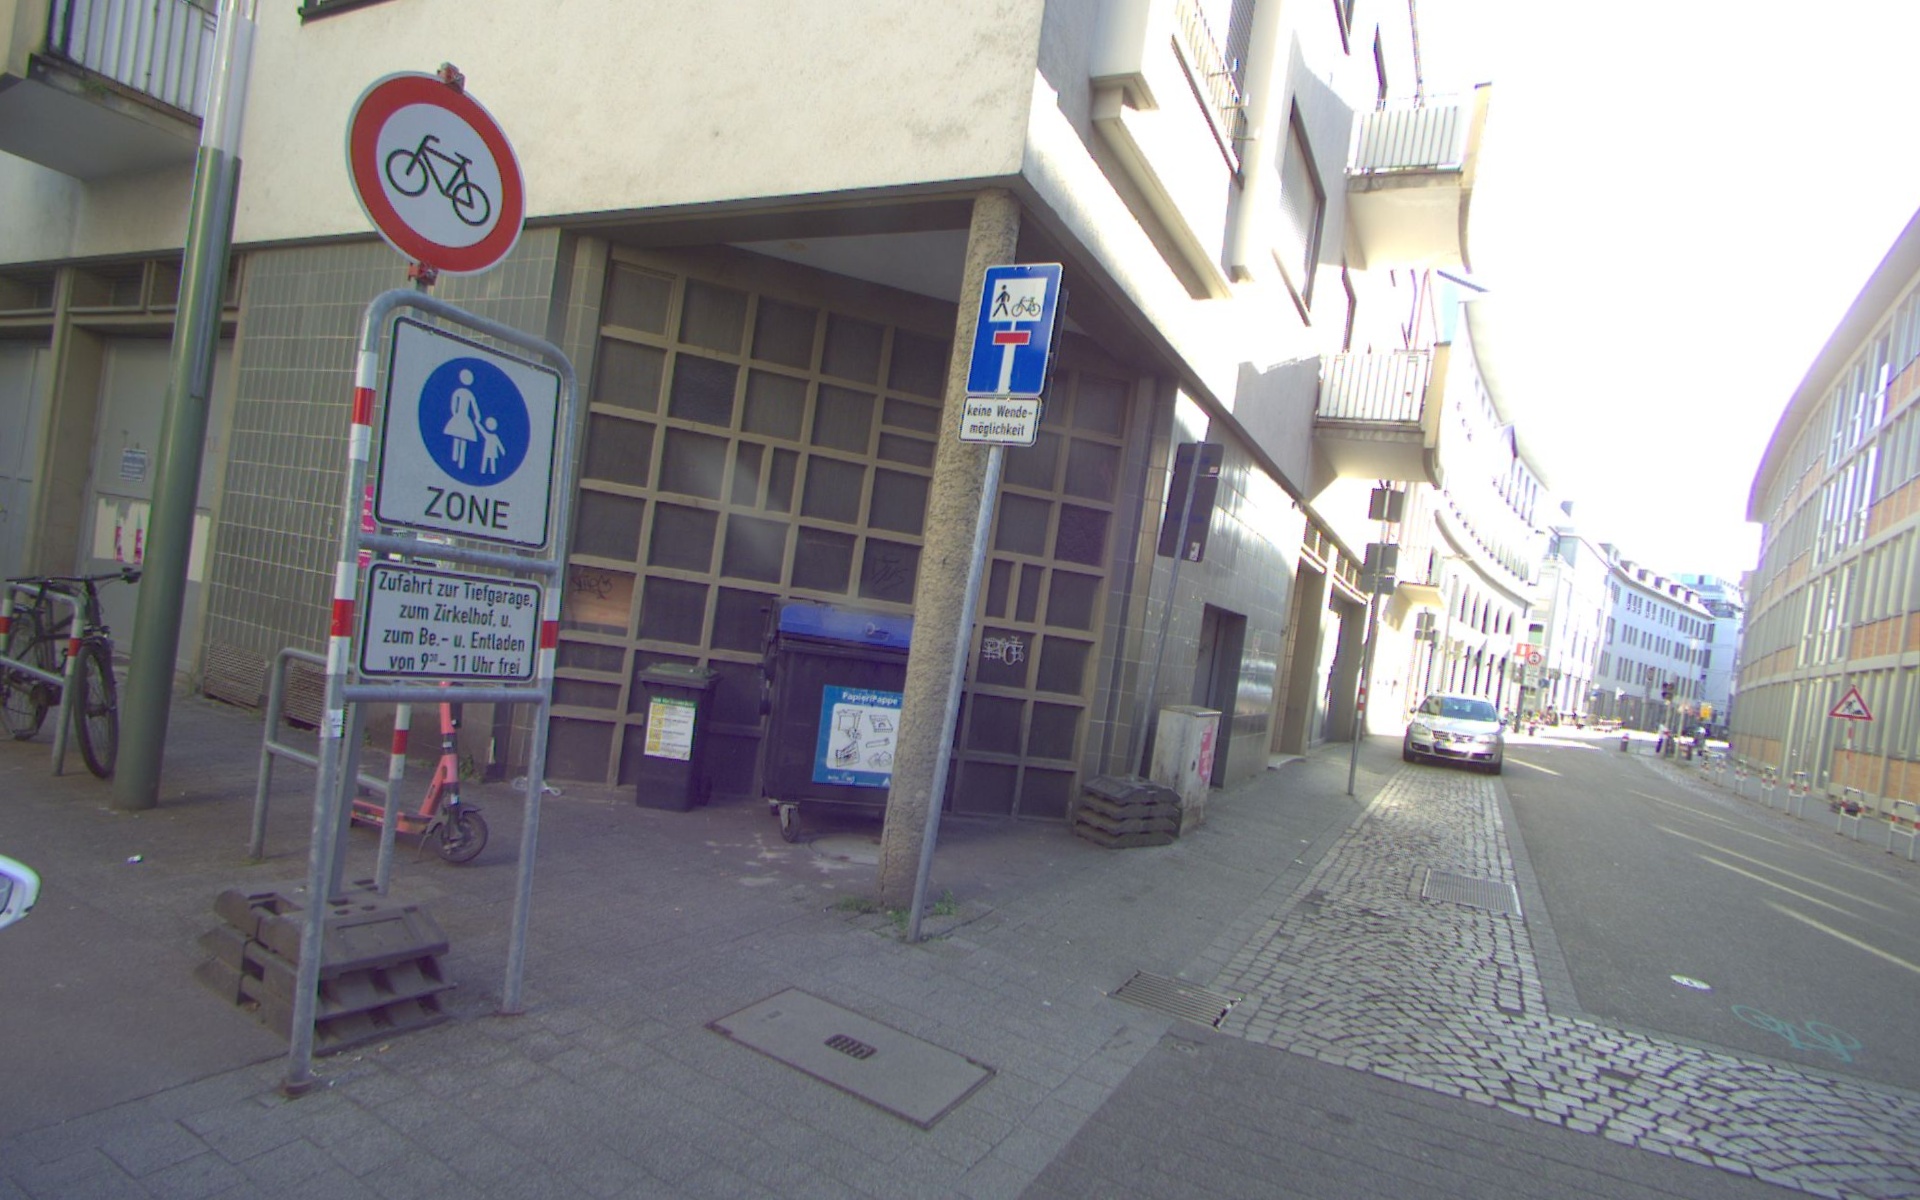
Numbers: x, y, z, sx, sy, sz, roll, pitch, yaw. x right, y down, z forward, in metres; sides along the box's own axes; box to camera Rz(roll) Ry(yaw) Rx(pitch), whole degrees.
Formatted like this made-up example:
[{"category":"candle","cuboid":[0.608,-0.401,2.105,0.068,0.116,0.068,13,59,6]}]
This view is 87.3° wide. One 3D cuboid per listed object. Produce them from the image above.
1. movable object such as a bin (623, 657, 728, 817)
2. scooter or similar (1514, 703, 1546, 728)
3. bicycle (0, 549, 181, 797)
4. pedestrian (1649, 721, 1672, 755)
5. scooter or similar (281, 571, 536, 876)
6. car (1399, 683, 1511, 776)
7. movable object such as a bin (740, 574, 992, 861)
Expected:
[{"category":"movable object such as a bin","cuboid":[-1.886,0.895,6.644,0.534,0.935,0.511,7,0,-19]},{"category":"scooter or similar","cuboid":[33.802,6.822,59.650,0.524,1.211,1.956,8,-1,-4]},{"category":"bicycle","cuboid":[-5.049,0.352,5.646,1.682,1.153,0.447,6,-1,33]},{"category":"pedestrian","cuboid":[32.012,6.300,45.976,0.648,1.458,0.595,8,0,30]},{"category":"scooter or similar","cuboid":[-2.732,0.564,4.955,1.217,1.268,0.308,7,0,25]},{"category":"car","cuboid":[10.113,2.554,20.477,1.740,1.488,3.809,6,-2,28]},{"category":"movable object such as a bin","cuboid":[-0.676,0.734,6.698,1.272,1.609,1.150,8,1,-17]}]
